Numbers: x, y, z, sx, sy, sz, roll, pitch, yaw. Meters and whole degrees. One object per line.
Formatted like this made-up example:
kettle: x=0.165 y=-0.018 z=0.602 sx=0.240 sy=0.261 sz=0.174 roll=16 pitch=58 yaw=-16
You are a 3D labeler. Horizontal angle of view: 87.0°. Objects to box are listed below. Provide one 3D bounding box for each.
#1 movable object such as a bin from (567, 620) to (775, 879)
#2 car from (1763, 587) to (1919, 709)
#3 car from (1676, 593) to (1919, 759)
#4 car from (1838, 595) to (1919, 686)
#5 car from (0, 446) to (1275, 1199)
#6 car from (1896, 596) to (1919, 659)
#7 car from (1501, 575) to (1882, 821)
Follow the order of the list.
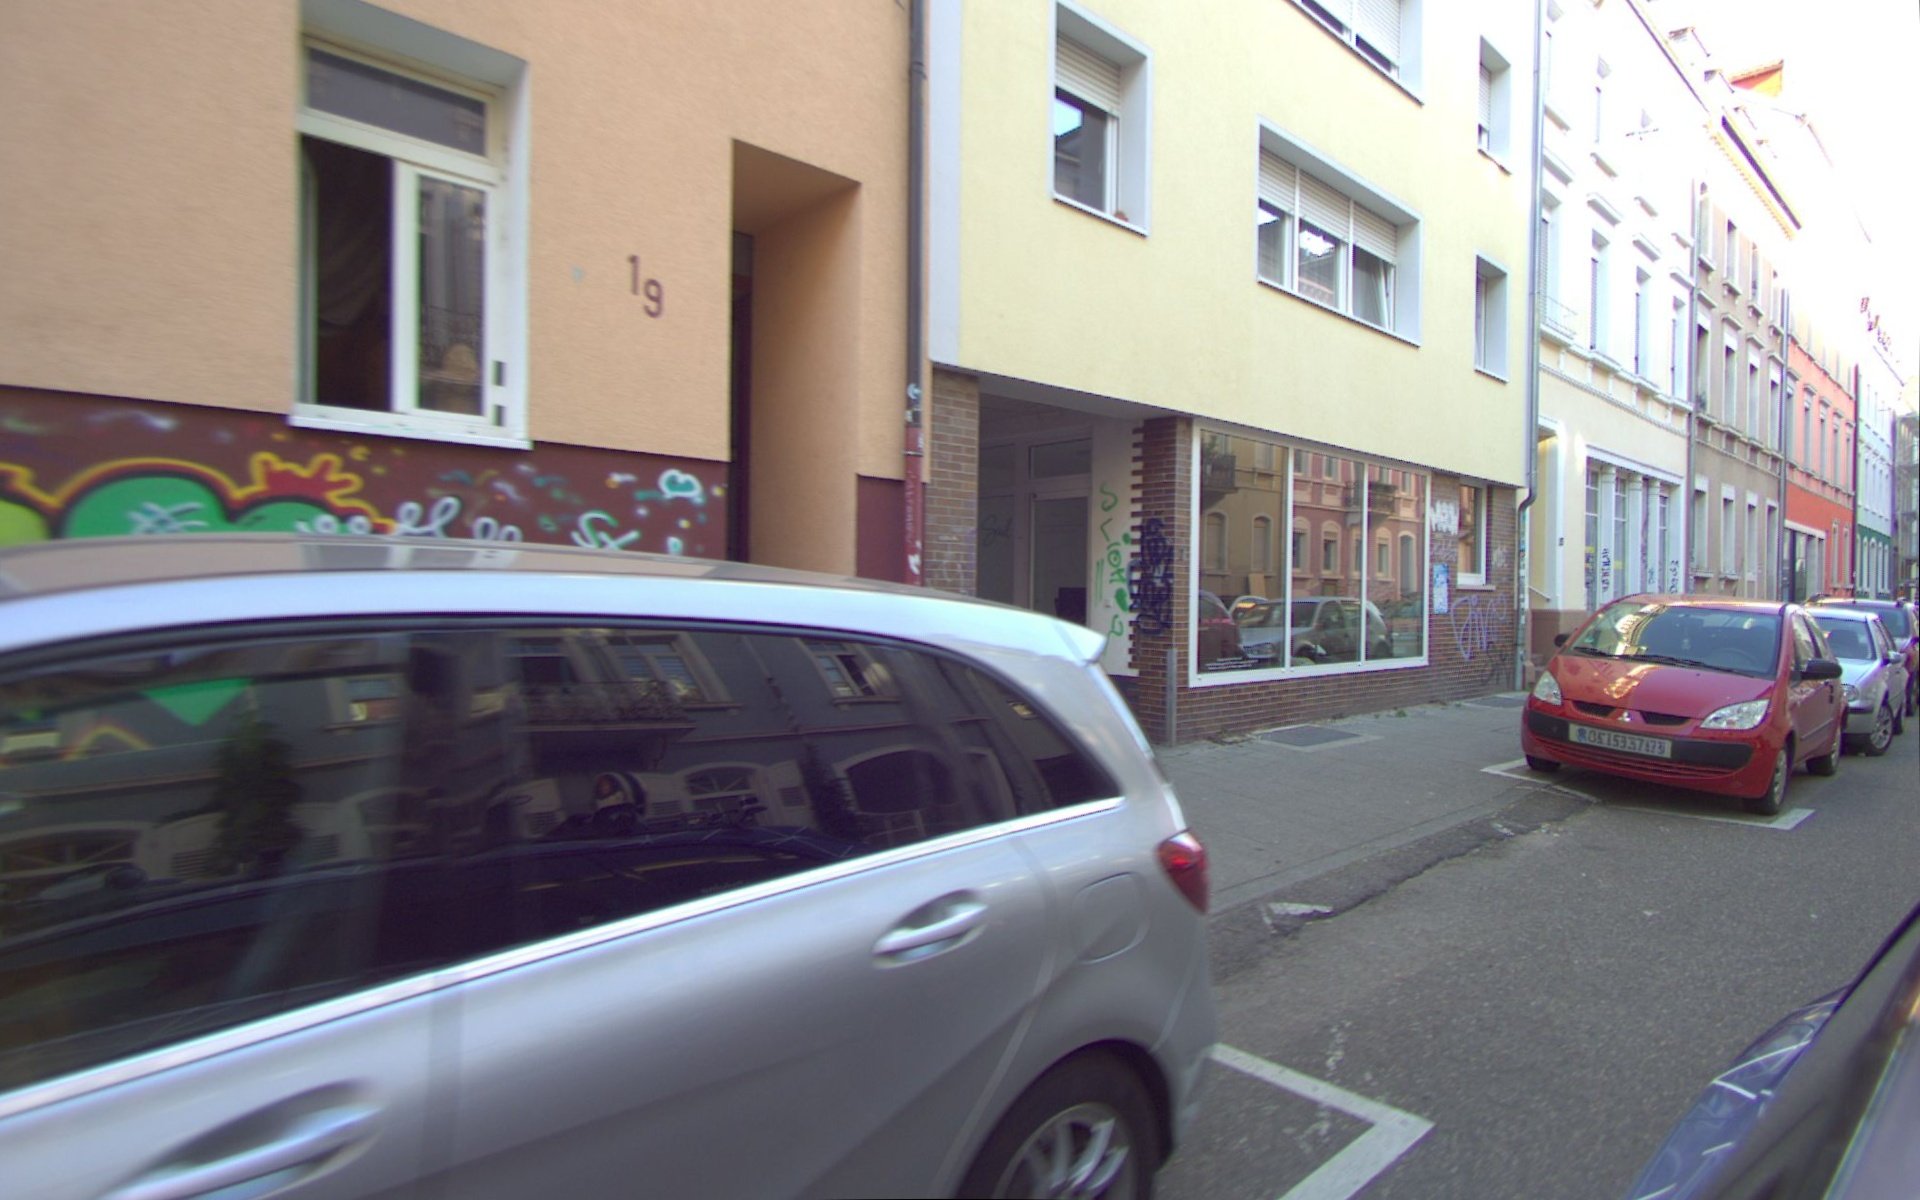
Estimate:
movable object such as a bin: x=-1.407 y=0.661 z=4.910 sx=0.723 sy=1.070 sz=0.694 roll=1 pitch=3 yaw=-41
car: x=13.591 y=0.633 z=15.154 sx=3.931 sy=1.570 sz=1.792 roll=0 pitch=1 yaw=-42
car: x=9.635 y=0.701 z=11.438 sx=4.123 sy=1.470 sz=1.690 roll=0 pitch=2 yaw=-43
car: x=17.705 y=0.680 z=18.695 sx=4.305 sy=1.541 sz=1.764 roll=0 pitch=0 yaw=-42
car: x=-1.409 y=0.628 z=1.614 sx=4.098 sy=1.575 sz=1.749 roll=0 pitch=1 yaw=-41
car: x=25.104 y=0.687 z=25.514 sx=4.388 sy=1.501 sz=1.829 roll=0 pitch=2 yaw=-42
car: x=6.246 y=0.625 z=8.481 sx=3.910 sy=1.542 sz=1.701 roll=0 pitch=2 yaw=-41
